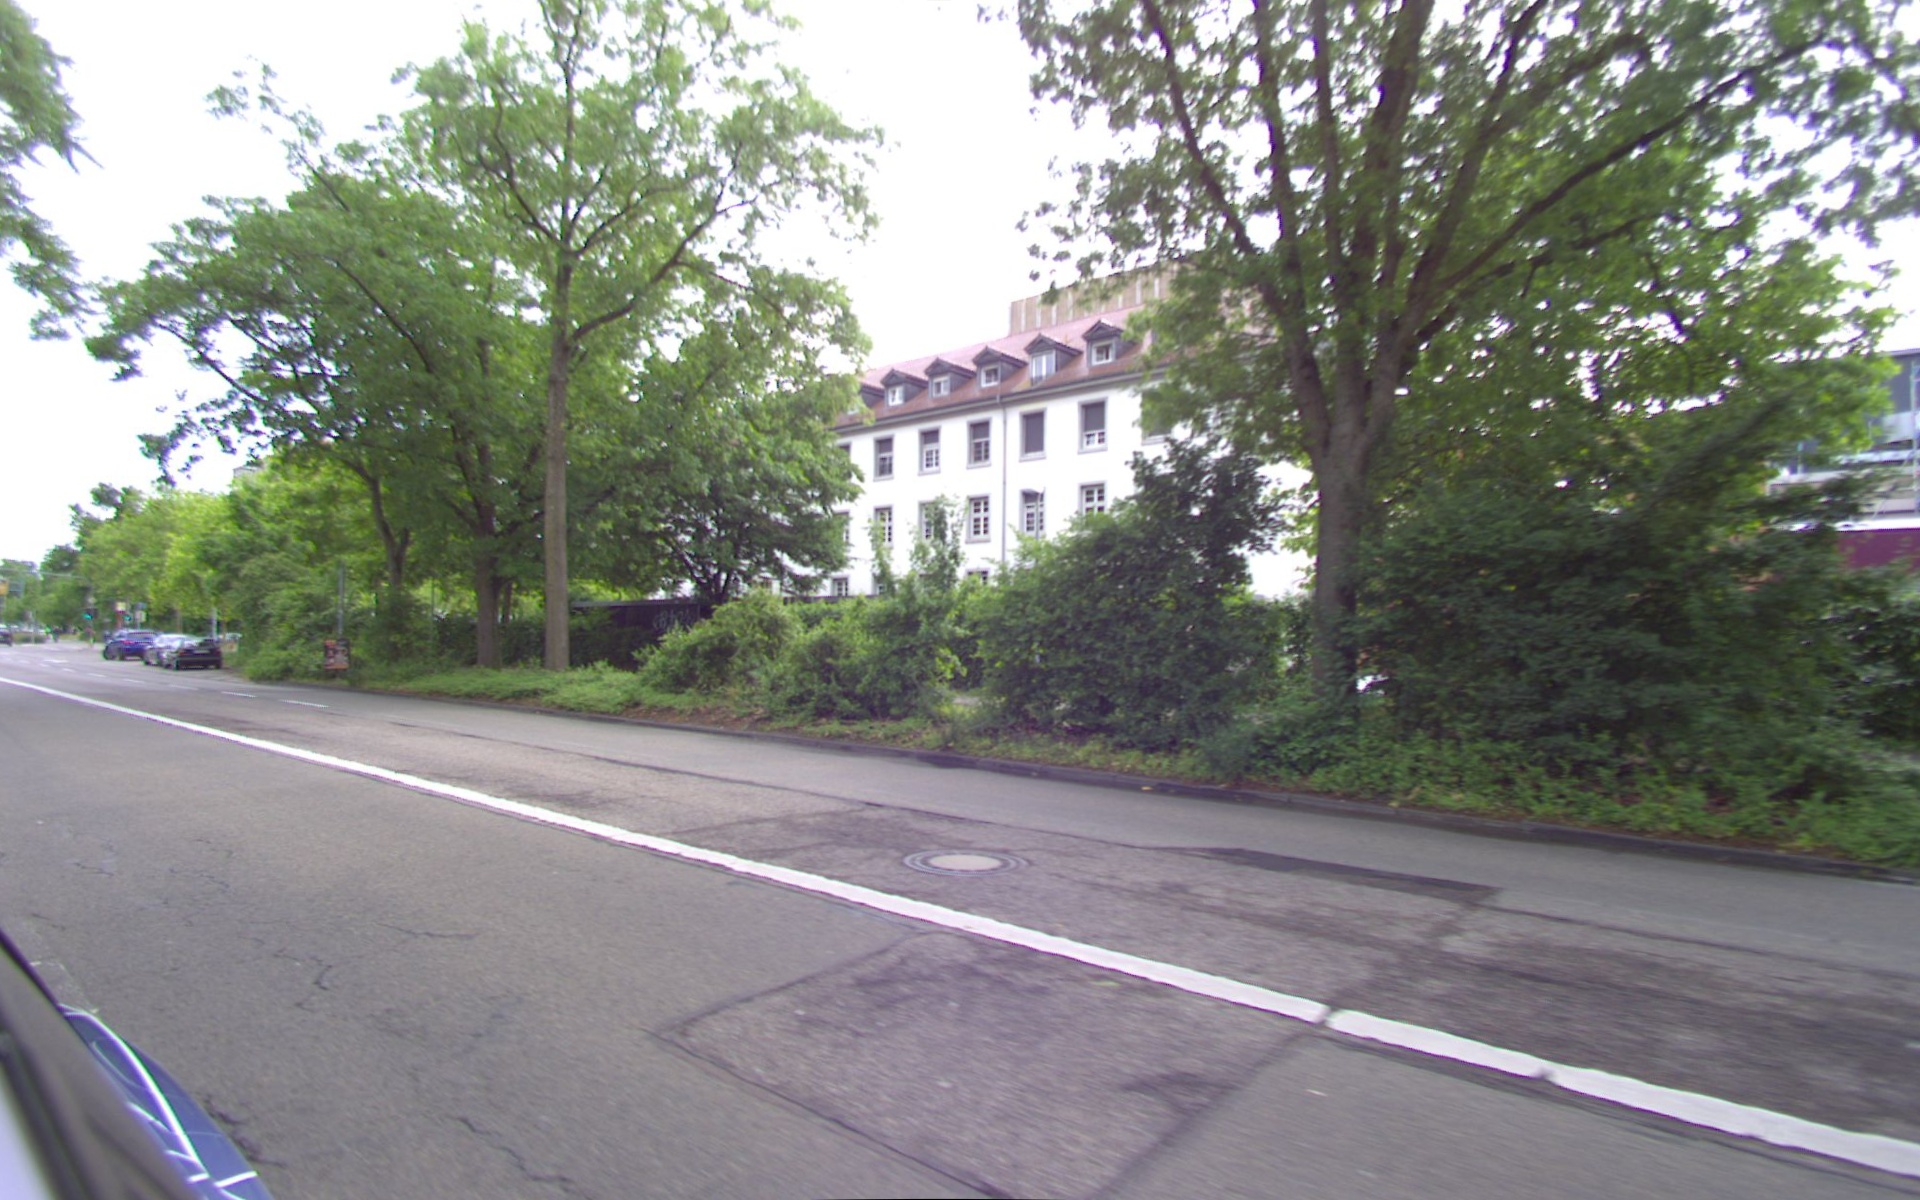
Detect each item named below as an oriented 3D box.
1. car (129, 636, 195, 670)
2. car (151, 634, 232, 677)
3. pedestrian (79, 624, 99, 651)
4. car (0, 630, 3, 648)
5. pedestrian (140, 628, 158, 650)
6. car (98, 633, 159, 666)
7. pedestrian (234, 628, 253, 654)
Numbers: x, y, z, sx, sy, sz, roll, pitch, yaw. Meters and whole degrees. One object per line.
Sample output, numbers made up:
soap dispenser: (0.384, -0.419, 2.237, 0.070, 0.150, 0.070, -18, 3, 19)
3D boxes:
car: (-37.215, 2.432, 47.140, 4.730, 1.435, 1.853, -2, -1, 45)
car: (-32.753, 2.307, 43.107, 3.998, 1.702, 1.973, -1, -1, 41)
pedestrian: (-65.016, 2.816, 75.511, 1.008, 2.029, 0.885, -2, -4, 39)
car: (-103.644, 4.165, 108.268, 1.750, 1.862, 4.493, 1, -2, -43)
pedestrian: (-69.642, 3.366, 86.931, 0.934, 1.817, 0.886, -1, -4, 37)
car: (-43.594, 2.542, 53.052, 4.592, 1.620, 1.839, -2, -2, 43)
pedestrian: (-58.452, 3.353, 82.568, 1.091, 2.029, 0.789, 0, -3, 24)
